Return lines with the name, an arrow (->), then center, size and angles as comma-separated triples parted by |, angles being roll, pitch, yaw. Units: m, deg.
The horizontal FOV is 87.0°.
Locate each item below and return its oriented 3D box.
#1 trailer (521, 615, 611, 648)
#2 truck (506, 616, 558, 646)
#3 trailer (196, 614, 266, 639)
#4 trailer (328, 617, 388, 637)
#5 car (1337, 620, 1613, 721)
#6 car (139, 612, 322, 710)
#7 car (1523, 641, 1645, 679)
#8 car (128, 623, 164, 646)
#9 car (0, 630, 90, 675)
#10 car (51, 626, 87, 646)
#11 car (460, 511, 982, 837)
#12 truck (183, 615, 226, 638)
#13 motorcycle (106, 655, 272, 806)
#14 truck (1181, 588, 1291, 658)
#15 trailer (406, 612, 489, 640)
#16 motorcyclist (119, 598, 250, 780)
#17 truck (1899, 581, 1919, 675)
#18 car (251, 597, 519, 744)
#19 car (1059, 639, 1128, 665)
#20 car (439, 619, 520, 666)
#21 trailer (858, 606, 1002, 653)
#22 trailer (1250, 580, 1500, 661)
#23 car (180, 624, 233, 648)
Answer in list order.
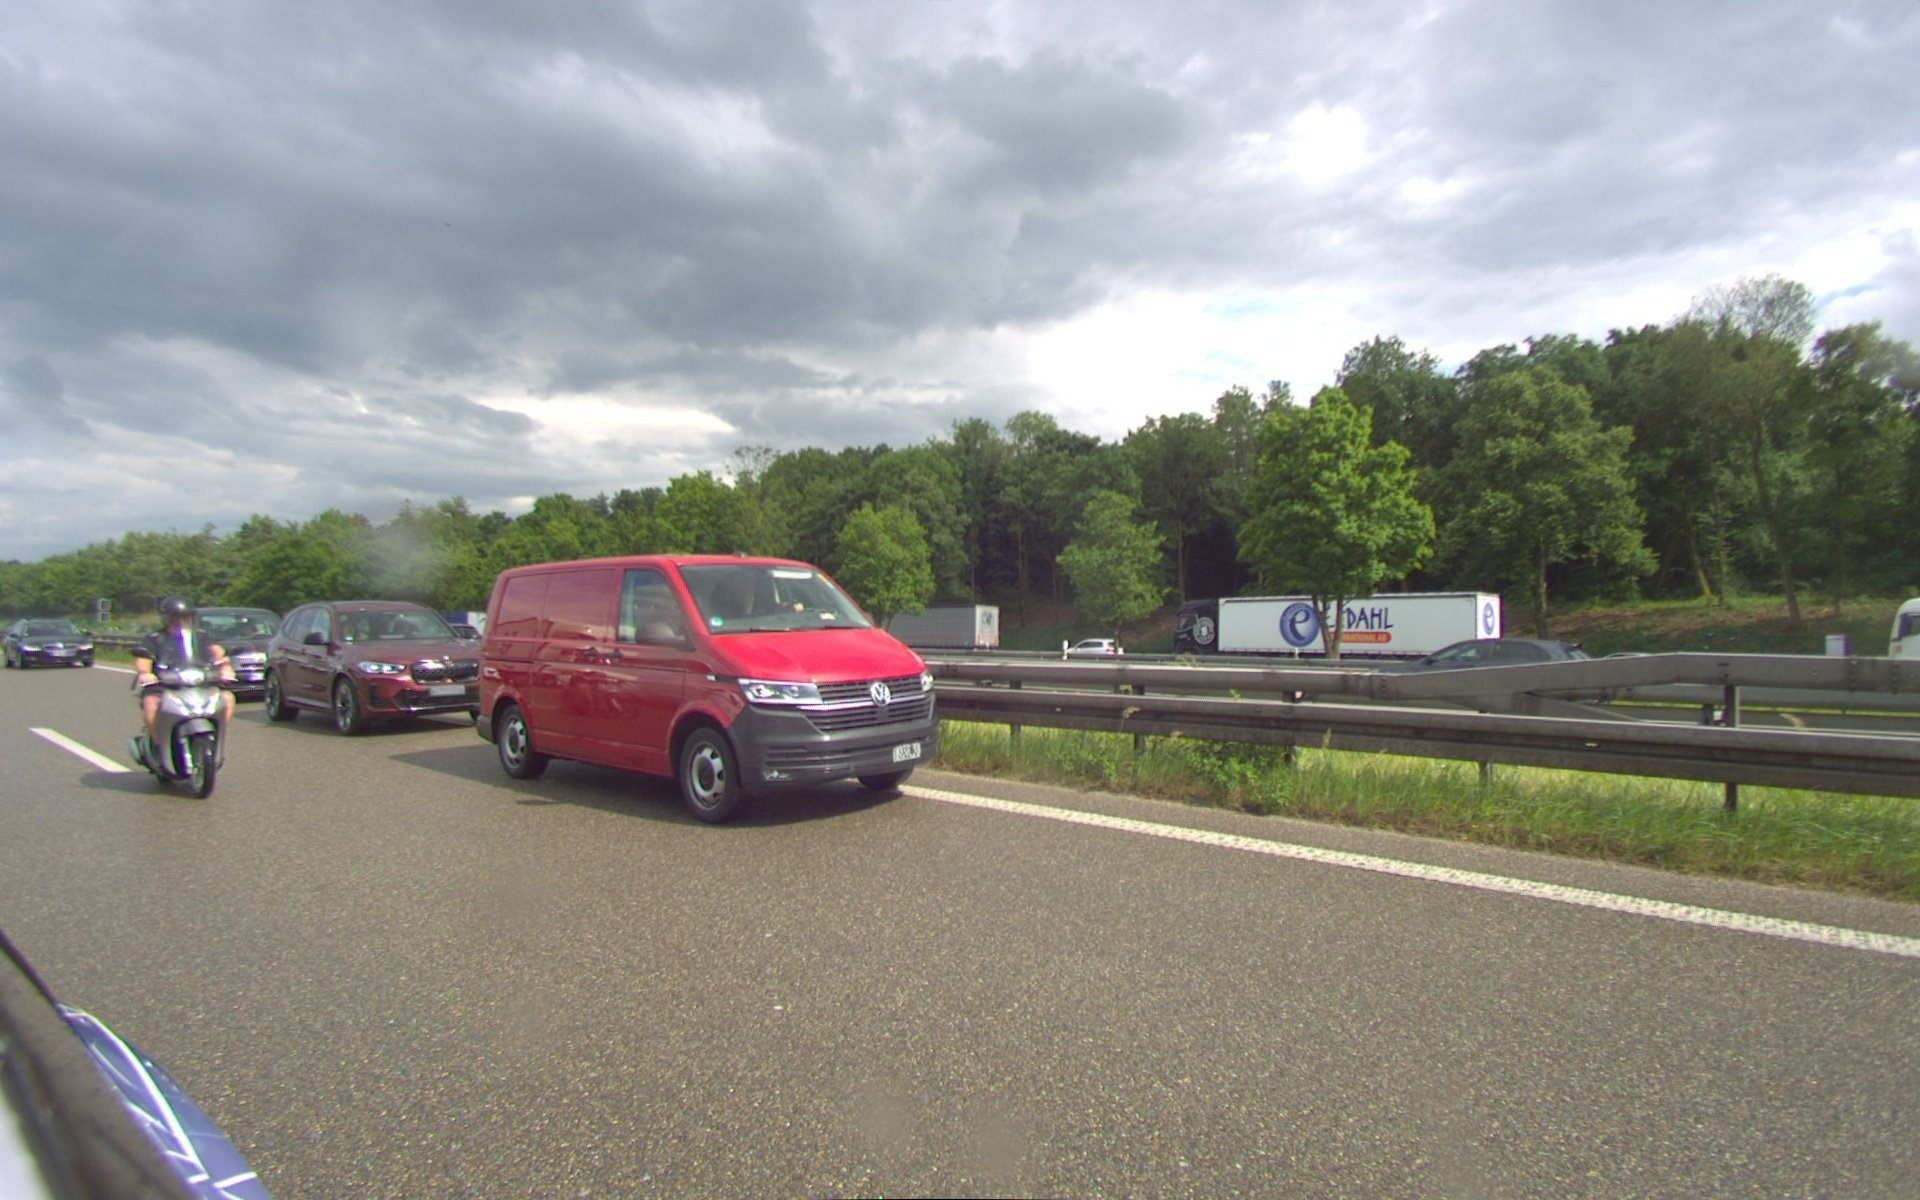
trailer -> -42.673, 3.384, 109.227 | 12.634, 3.297, 3.153 | -1, -3, 39
truck -> -48.030, 3.473, 113.565 | 5.386, 3.280, 3.142 | -1, -3, 39
trailer -> -107.882, 3.931, 149.679 | 13.356, 3.539, 2.681 | -1, -2, 28
trailer -> -80.289, 3.586, 134.958 | 9.841, 2.594, 2.511 | -1, -1, 30
car -> 9.978, 1.294, 19.816 | 4.500, 1.759, 1.847 | -1, -2, 41
car -> -13.355, 1.029, 18.457 | 4.052, 1.578, 1.870 | -1, -1, 41
car -> 26.235, 2.487, 42.634 | 1.871, 1.514, 4.006 | 2, -2, -41
car -> -75.972, 3.182, 94.439 | 3.998, 2.029, 1.973 | -1, 0, 41
car -> -28.340, 1.580, 31.294 | 3.998, 1.245, 1.653 | -1, -1, 41
car -> -88.946, 3.577, 100.993 | 3.995, 2.029, 1.974 | -1, -3, 39
car -> -2.235, 0.496, 8.510 | 4.748, 2.000, 1.870 | -2, -1, 41
truck -> -114.159, 4.007, 152.972 | 6.309, 3.509, 2.673 | -1, -2, 28
motorcycle -> -6.636, 1.054, 8.671 | 1.979, 1.095, 0.669 | -1, 0, 39
truck -> 15.140, 1.302, 55.746 | 2.136, 3.648, 5.586 | 2, -2, -41
trailer -> -62.942, 3.166, 124.053 | 13.378, 3.297, 3.050 | -1, -2, 35
motorcyclist -> -6.658, 0.717, 8.680 | 1.019, 1.453, 0.664 | -1, 0, 39
truck -> 33.752, 0.893, 32.415 | 1.950, 3.121, 5.088 | -1, 0, -36
car -> -7.877, 0.839, 13.701 | 4.293, 1.682, 1.870 | -1, -1, 41
car -> 8.385, 3.244, 63.650 | 1.873, 1.514, 4.003 | 2, -3, -44
car -> -22.369, 1.922, 47.058 | 3.998, 2.029, 1.973 | -1, 0, 41
trailer -> -2.416, 2.170, 74.881 | 12.175, 3.217, 2.986 | -2, -3, 44
trailer -> 20.051, 1.060, 50.095 | 2.155, 3.627, 11.736 | 2, -2, -41
car -> -48.448, 2.298, 65.029 | 3.998, 1.464, 1.972 | -1, -2, 41
